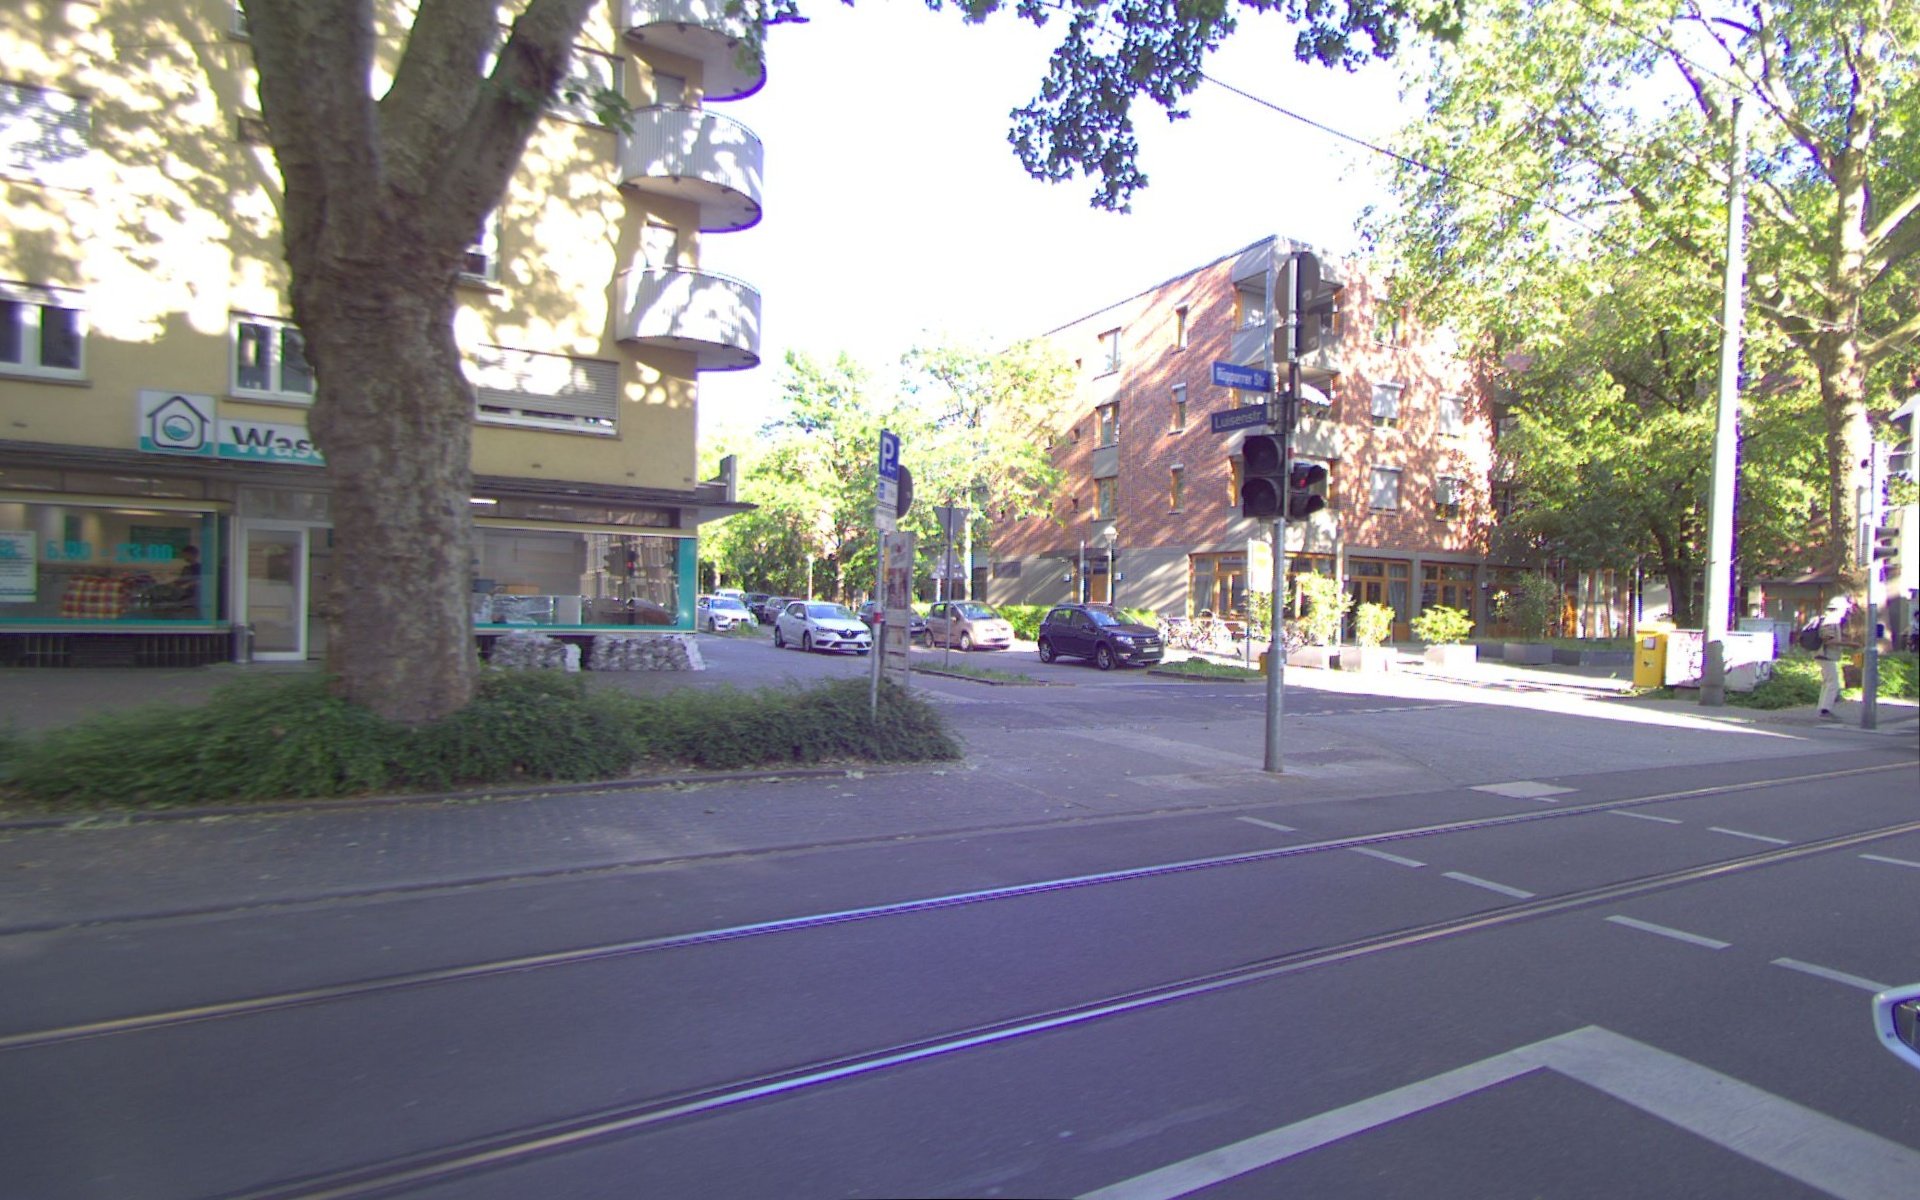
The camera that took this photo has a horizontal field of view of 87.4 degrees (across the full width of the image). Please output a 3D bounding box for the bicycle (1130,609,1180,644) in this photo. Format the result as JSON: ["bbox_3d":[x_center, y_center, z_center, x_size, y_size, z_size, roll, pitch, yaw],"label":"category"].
[{"bbox_3d":[6.477,0.884,33.324,1.619,1.099,0.539,2,1,-30],"label":"bicycle"}]

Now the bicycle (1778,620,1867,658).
[{"bbox_3d":[31.254,1.403,36.437,0.673,1.182,2.331,2,1,-27],"label":"bicycle"}]

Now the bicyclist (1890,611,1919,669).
[{"bbox_3d":[30.018,1.271,31.642,0.986,1.773,0.771,2,1,-30],"label":"bicyclist"}]

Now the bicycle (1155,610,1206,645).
[{"bbox_3d":[7.068,0.882,32.124,1.619,1.099,0.539,2,1,-30],"label":"bicycle"}]

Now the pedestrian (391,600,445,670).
[{"bbox_3d":[-8.509,0.543,15.776,0.703,1.061,0.575,2,1,-30],"label":"pedestrian"}]

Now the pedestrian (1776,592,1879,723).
[{"bbox_3d":[13.026,0.822,15.093,0.910,1.860,0.919,-1,2,-32],"label":"pedestrian"}]

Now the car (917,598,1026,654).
[{"bbox_3d":[0.320,0.804,33.302,1.937,1.684,3.970,-1,1,-29],"label":"car"}]

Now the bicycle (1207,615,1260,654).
[{"bbox_3d":[8.160,1.012,29.913,1.619,1.099,0.539,-1,2,-30],"label":"bicycle"}]

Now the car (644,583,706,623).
[{"bbox_3d":[-13.444,0.132,47.234,1.976,1.706,3.969,2,1,-29],"label":"car"}]

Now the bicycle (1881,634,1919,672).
[{"bbox_3d":[30.048,1.669,31.681,2.566,1.125,0.778,2,1,-31],"label":"bicycle"}]

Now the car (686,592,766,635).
[{"bbox_3d":[-9.107,0.493,38.875,1.976,1.477,3.969,2,1,-29],"label":"car"}]

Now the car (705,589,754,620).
[{"bbox_3d":[-13.792,0.254,60.017,1.801,1.729,3.969,2,1,-29],"label":"car"}]

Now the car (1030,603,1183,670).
[{"bbox_3d":[3.768,0.915,26.486,1.976,1.528,3.969,2,1,-29],"label":"car"}]

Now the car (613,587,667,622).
[{"bbox_3d":[-17.025,0.220,53.356,1.976,1.706,3.969,2,1,-29],"label":"car"}]

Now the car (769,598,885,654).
[{"bbox_3d":[-3.892,0.708,28.783,1.976,1.394,3.969,2,1,-29],"label":"car"}]

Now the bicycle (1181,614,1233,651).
[{"bbox_3d":[7.563,0.981,30.797,1.619,1.099,0.539,0,1,-30],"label":"bicycle"}]

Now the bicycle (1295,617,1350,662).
[{"bbox_3d":[9.612,1.025,26.619,1.518,1.099,0.539,-1,2,-30],"label":"bicycle"}]

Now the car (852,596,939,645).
[{"bbox_3d":[-2.538,0.740,38.627,1.845,1.684,3.969,2,1,-29],"label":"car"}]

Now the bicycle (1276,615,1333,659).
[{"bbox_3d":[9.320,0.983,27.170,1.619,1.099,0.539,-1,2,-30],"label":"bicycle"}]

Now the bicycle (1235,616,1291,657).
[{"bbox_3d":[8.673,1.027,28.741,1.619,1.099,0.539,0,2,-30],"label":"bicycle"}]
